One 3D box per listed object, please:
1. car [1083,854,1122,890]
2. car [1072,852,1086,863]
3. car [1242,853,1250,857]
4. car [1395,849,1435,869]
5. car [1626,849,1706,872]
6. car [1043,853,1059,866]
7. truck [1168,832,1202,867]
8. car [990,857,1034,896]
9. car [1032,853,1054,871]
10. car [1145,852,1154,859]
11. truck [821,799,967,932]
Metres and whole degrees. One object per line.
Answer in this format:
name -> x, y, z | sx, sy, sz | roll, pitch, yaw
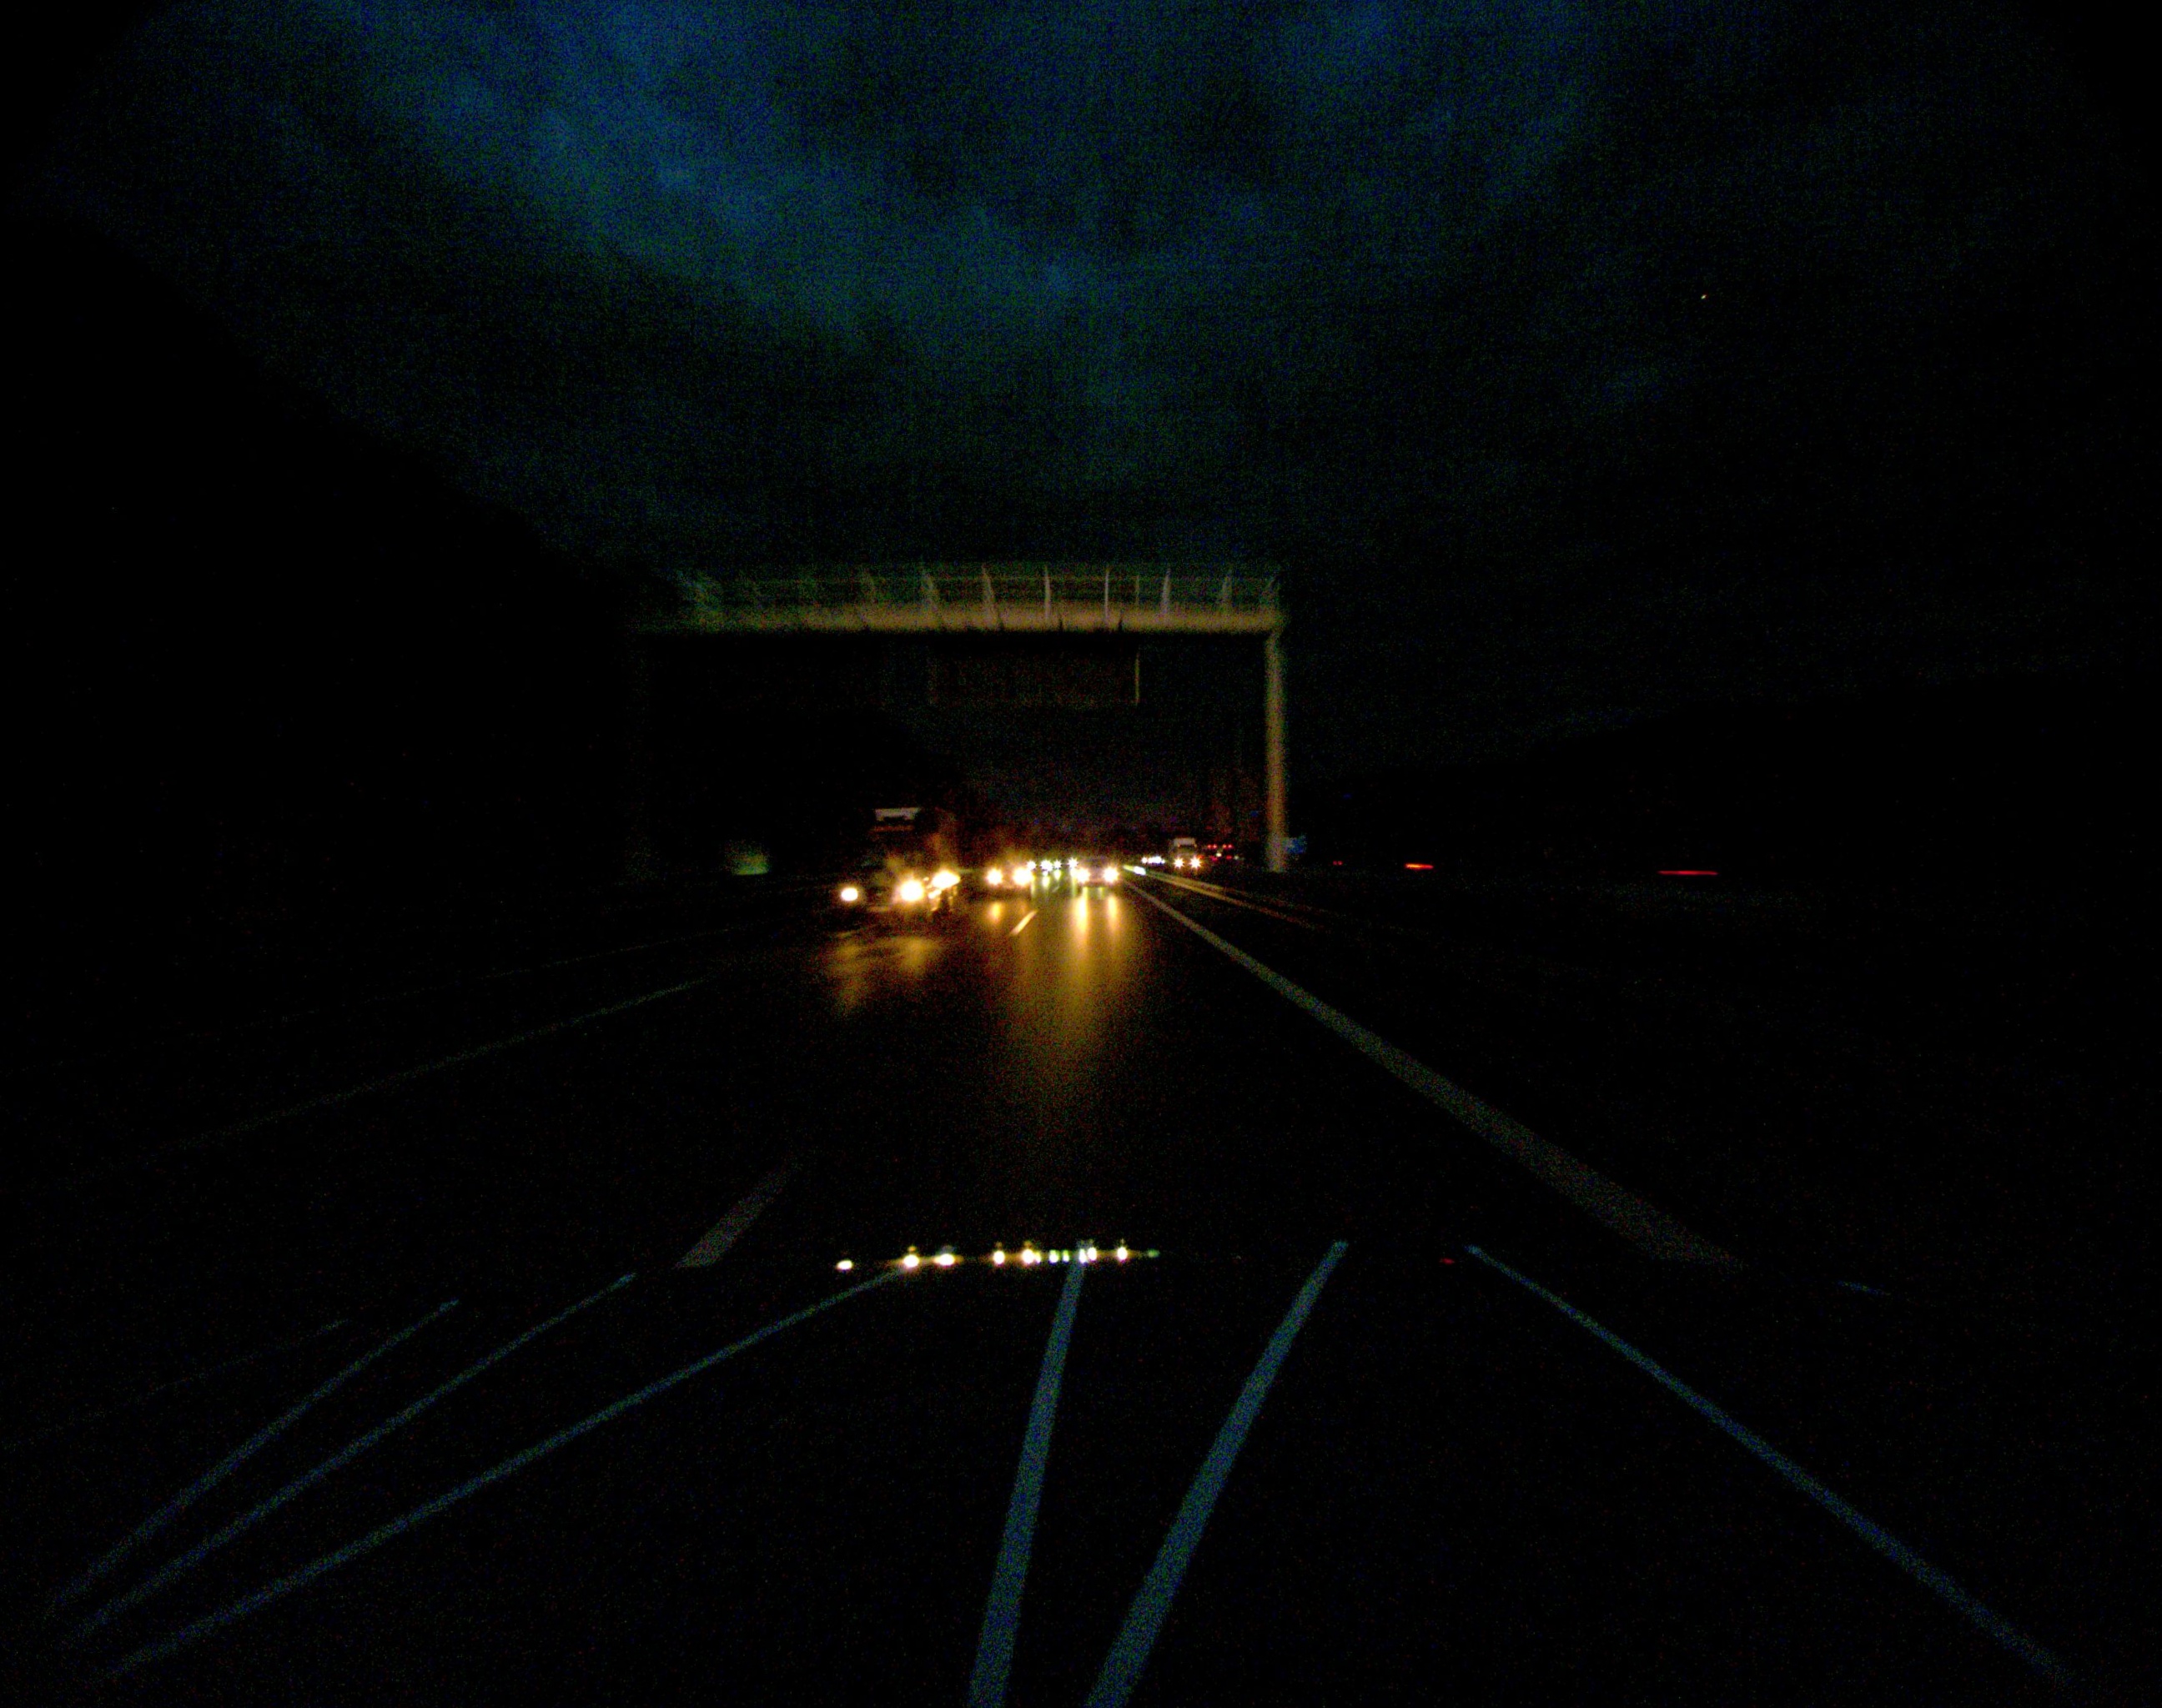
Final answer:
car -> 0.947, 0.798, 34.821 | 1.669, 1.551, 3.756 | 0, 0, 1
car -> -0.275, 0.461, 110.158 | 1.803, 1.483, 4.434 | -3, 0, -2
car -> 51.074, 0.303, 234.951 | 1.840, 1.434, 4.469 | 0, 0, 7
car -> 34.135, 0.517, 77.811 | 1.998, 2.002, 4.733 | 0, 1, 1
car -> 35.368, 0.370, 46.081 | 1.772, 1.311, 3.892 | 0, 1, -1
car -> -3.706, 0.663, 94.037 | 1.803, 1.483, 5.116 | -3, 0, -2
truck -> 13.105, -0.551, 96.765 | 3.046, 4.276, 9.890 | 0, 1, 1
car -> -2.897, 0.907, 32.383 | 1.615, 1.546, 3.318 | 0, 1, 0
car -> -3.655, 0.725, 73.046 | 1.802, 1.635, 5.160 | 1, 0, 0
car -> 15.872, 0.305, 176.729 | 1.833, 1.674, 4.229 | -2, 0, 1
truck -> -4.769, 0.262, 20.693 | 2.274, 2.954, 6.631 | -2, 0, -1
